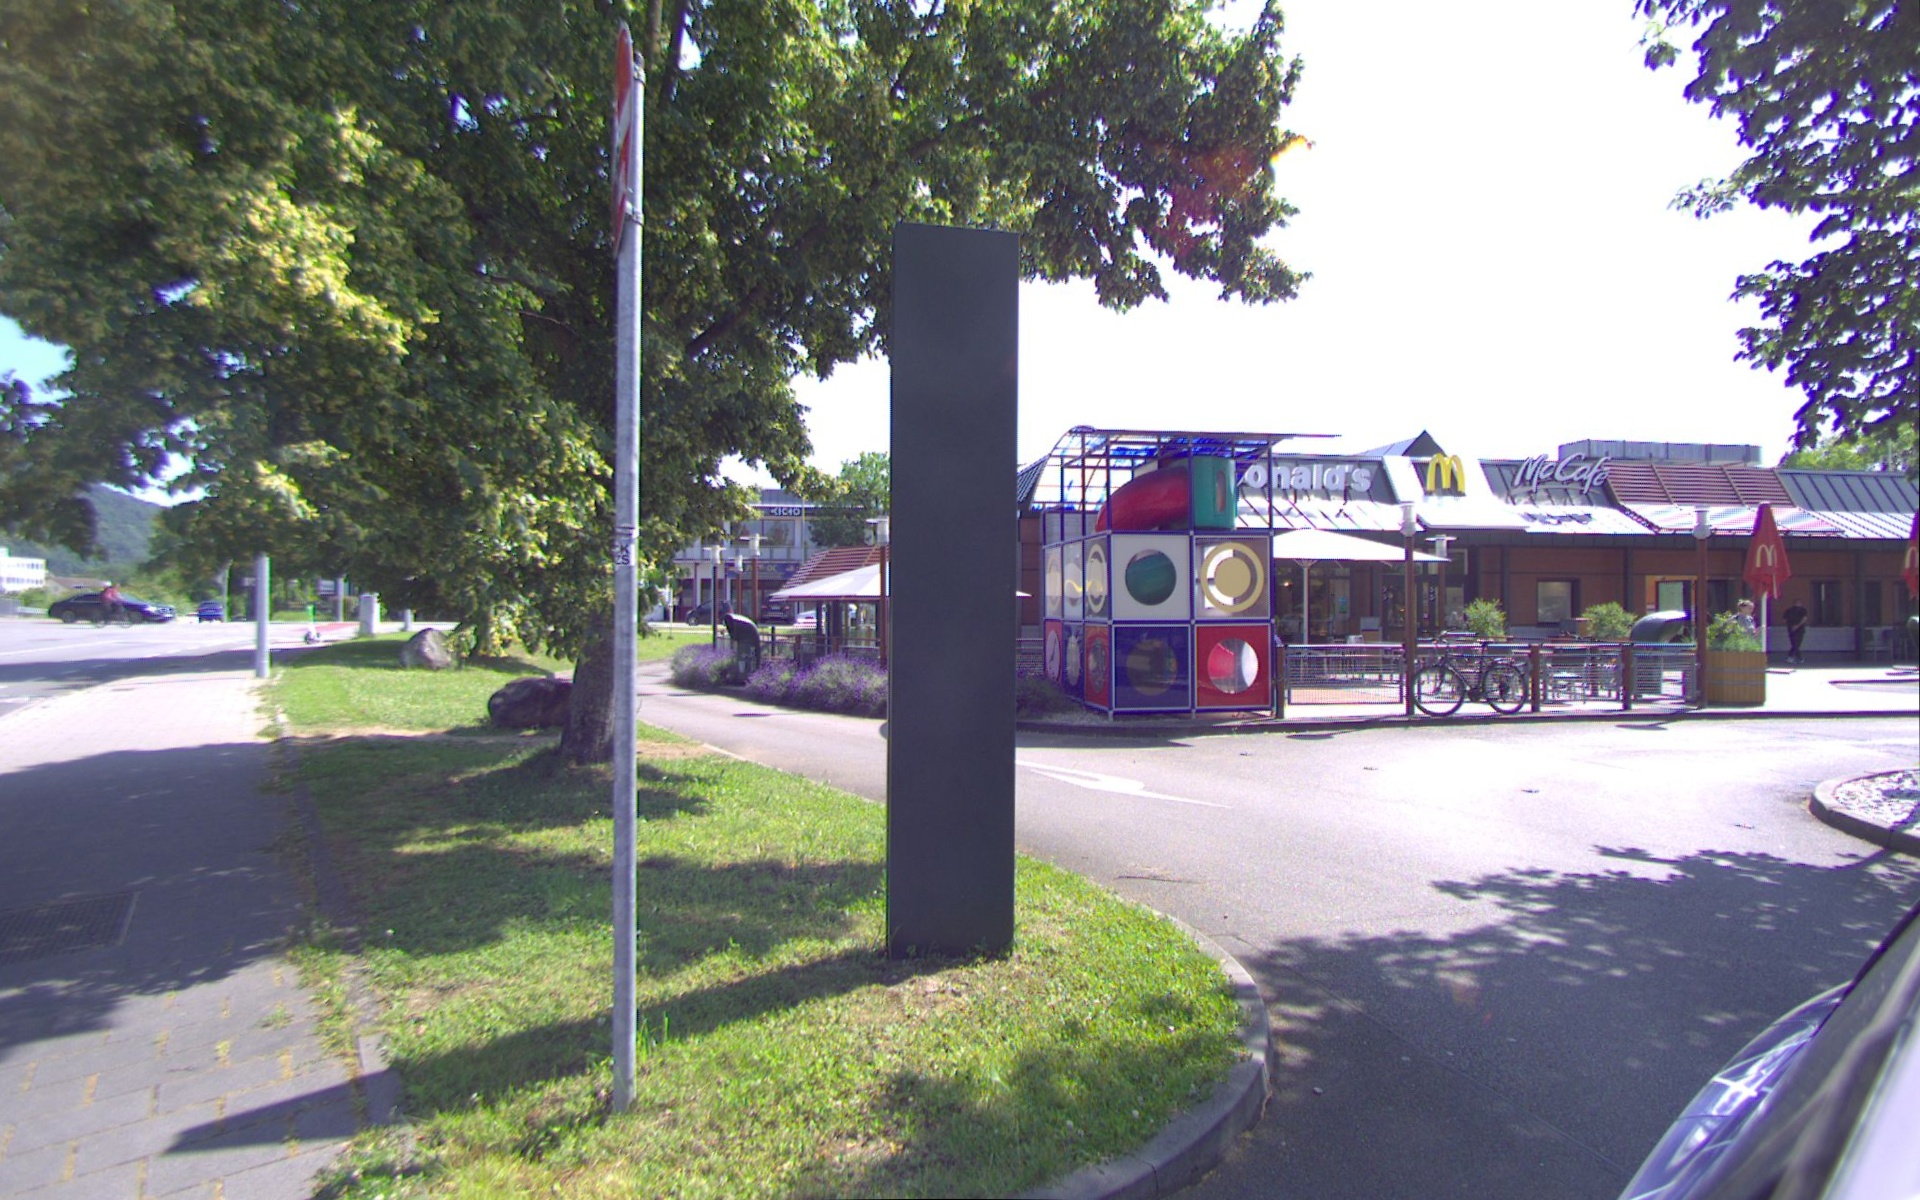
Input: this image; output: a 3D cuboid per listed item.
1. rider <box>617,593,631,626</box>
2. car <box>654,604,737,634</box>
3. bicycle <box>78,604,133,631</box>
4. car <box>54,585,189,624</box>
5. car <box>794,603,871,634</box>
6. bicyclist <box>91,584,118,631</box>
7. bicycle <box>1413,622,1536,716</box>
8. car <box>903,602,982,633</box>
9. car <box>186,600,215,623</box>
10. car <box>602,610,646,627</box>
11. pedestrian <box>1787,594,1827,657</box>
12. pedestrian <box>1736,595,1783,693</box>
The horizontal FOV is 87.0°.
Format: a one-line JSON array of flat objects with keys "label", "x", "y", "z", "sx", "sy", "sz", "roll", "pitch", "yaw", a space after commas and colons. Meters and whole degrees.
[{"label": "rider", "x": -19.002, "y": 0.531, "z": 57.244, "sx": 0.671, "sy": 1.835, "sz": 0.549, "roll": 0, "pitch": 2, "yaw": -9}, {"label": "car", "x": -14.564, "y": 1.029, "z": 55.887, "sx": 4.281, "sy": 1.509, "sz": 1.835, "roll": 0, "pitch": 3, "yaw": -9}, {"label": "bicycle", "x": -35.607, "y": 0.726, "z": 42.190, "sx": 1.690, "sy": 1.056, "sz": 0.584, "roll": 1, "pitch": 2, "yaw": -8}, {"label": "car", "x": -38.961, "y": 0.210, "z": 47.116, "sx": 4.520, "sy": 1.775, "sz": 1.888, "roll": 0, "pitch": 0, "yaw": -8}, {"label": "car", "x": -7.222, "y": 1.043, "z": 57.251, "sx": 4.281, "sy": 1.646, "sz": 1.835, "roll": 0, "pitch": 3, "yaw": -9}, {"label": "bicyclist", "x": -35.650, "y": 0.308, "z": 42.163, "sx": 0.643, "sy": 1.919, "sz": 0.553, "roll": 1, "pitch": 2, "yaw": -8}, {"label": "bicycle", "x": 7.083, "y": 0.937, "z": 13.941, "sx": 1.580, "sy": 1.201, "sz": 0.310, "roll": -2, "pitch": 2, "yaw": -6}, {"label": "car", "x": -1.013, "y": 1.002, "z": 58.013, "sx": 4.281, "sy": 1.646, "sz": 1.835, "roll": 0, "pitch": 3, "yaw": -9}, {"label": "car", "x": -53.431, "y": 0.770, "z": 71.205, "sx": 1.581, "sy": 1.555, "sz": 3.680, "roll": 1, "pitch": 0, "yaw": -38}, {"label": "car", "x": -19.000, "y": 1.058, "z": 57.285, "sx": 2.334, "sy": 0.913, "sz": 0.577, "roll": 0, "pitch": 3, "yaw": -9}, {"label": "pedestrian", "x": 22.572, "y": 0.671, "z": 26.981, "sx": 0.610, "sy": 1.672, "sz": 0.543, "roll": 0, "pitch": -1, "yaw": -9}, {"label": "pedestrian", "x": 13.210, "y": 0.707, "z": 16.727, "sx": 0.594, "sy": 1.587, "sz": 0.563, "roll": 0, "pitch": 0, "yaw": 40}]
